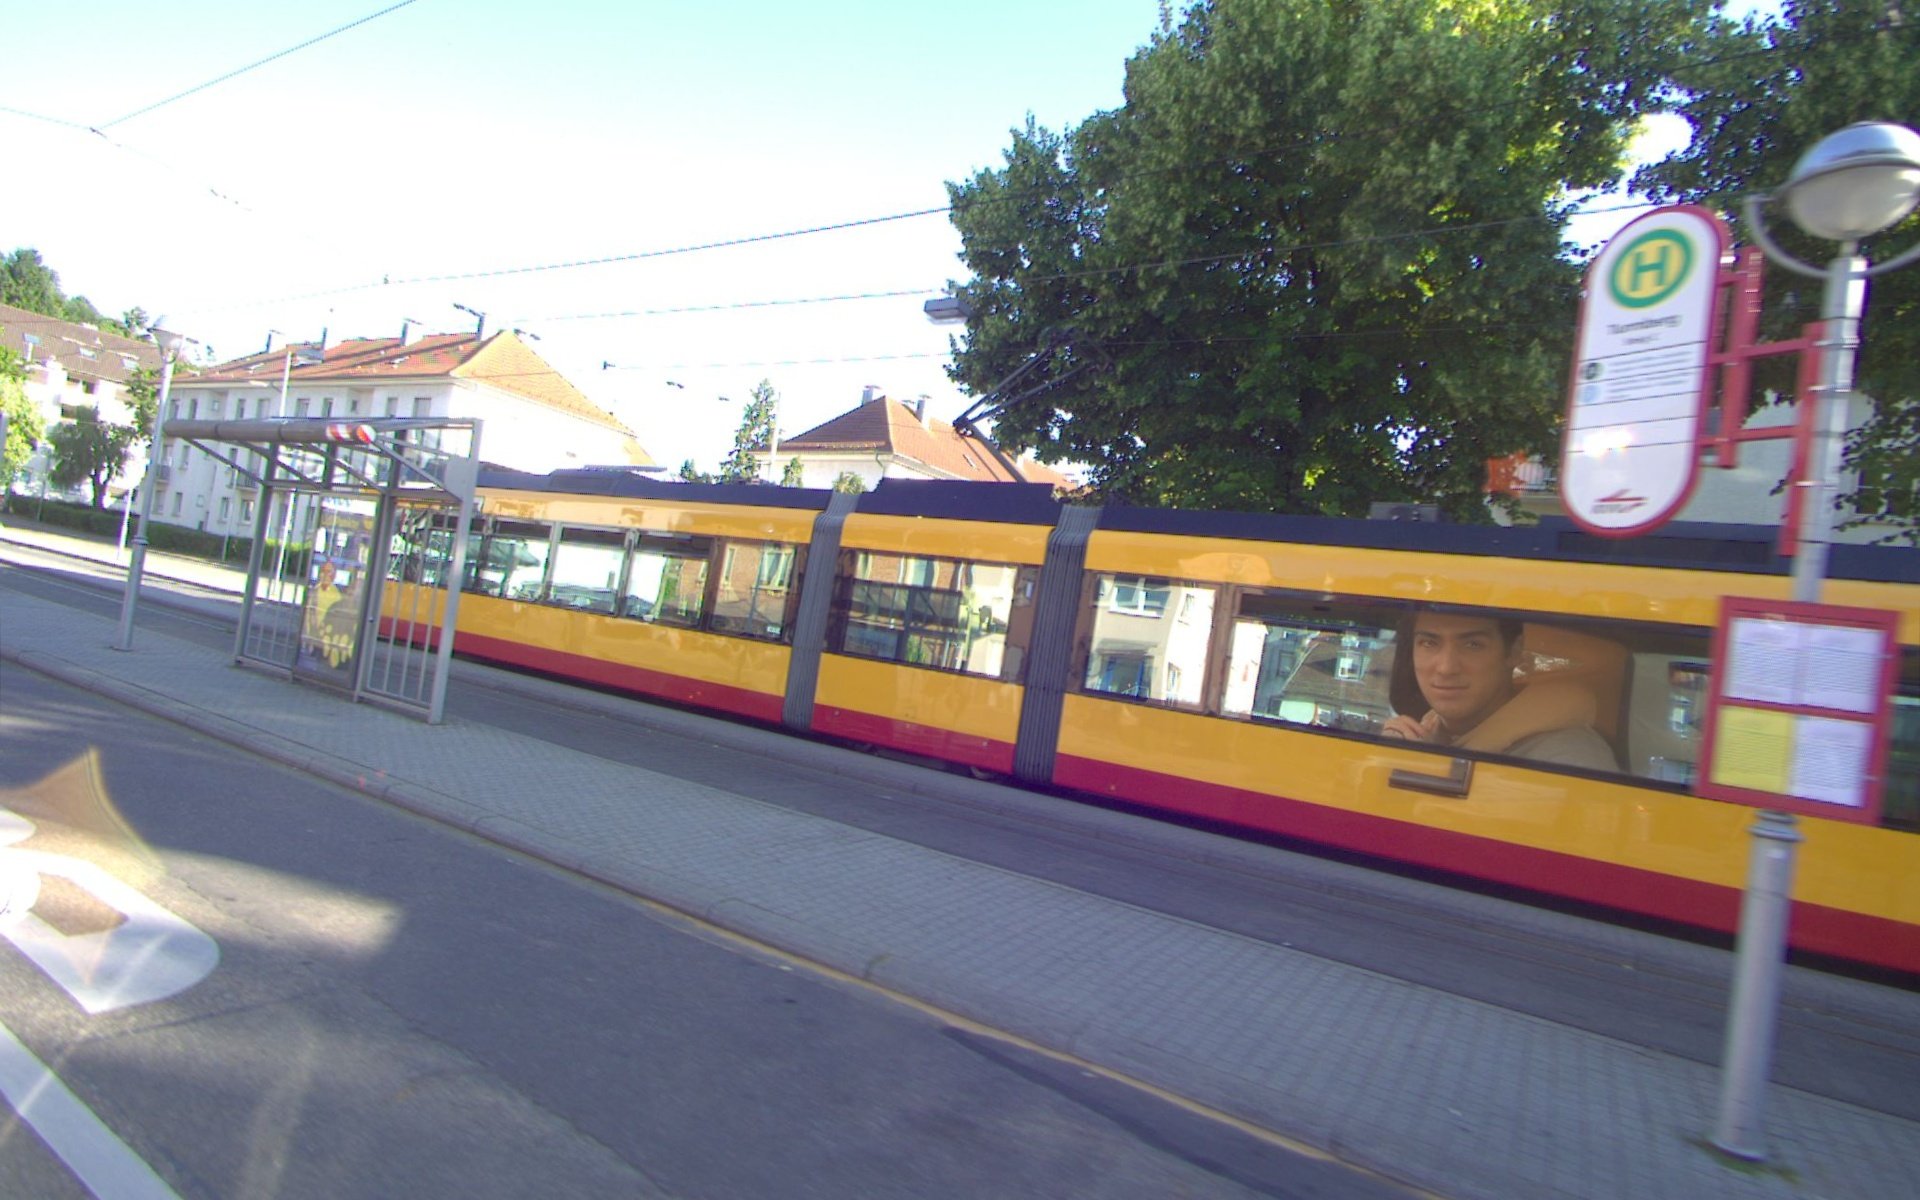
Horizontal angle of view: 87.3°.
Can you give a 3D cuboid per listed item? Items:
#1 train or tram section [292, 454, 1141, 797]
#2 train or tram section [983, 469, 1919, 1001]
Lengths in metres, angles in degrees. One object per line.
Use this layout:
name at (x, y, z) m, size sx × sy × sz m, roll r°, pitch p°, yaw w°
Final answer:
train or tram section at (-5.173, -0.182, 16.316) m, size 15.707 × 3.575 × 2.963 m, roll 6°, pitch -2°, yaw 32°
train or tram section at (6.797, 1.057, 8.734) m, size 13.243 × 3.575 × 2.963 m, roll 6°, pitch -2°, yaw 32°
